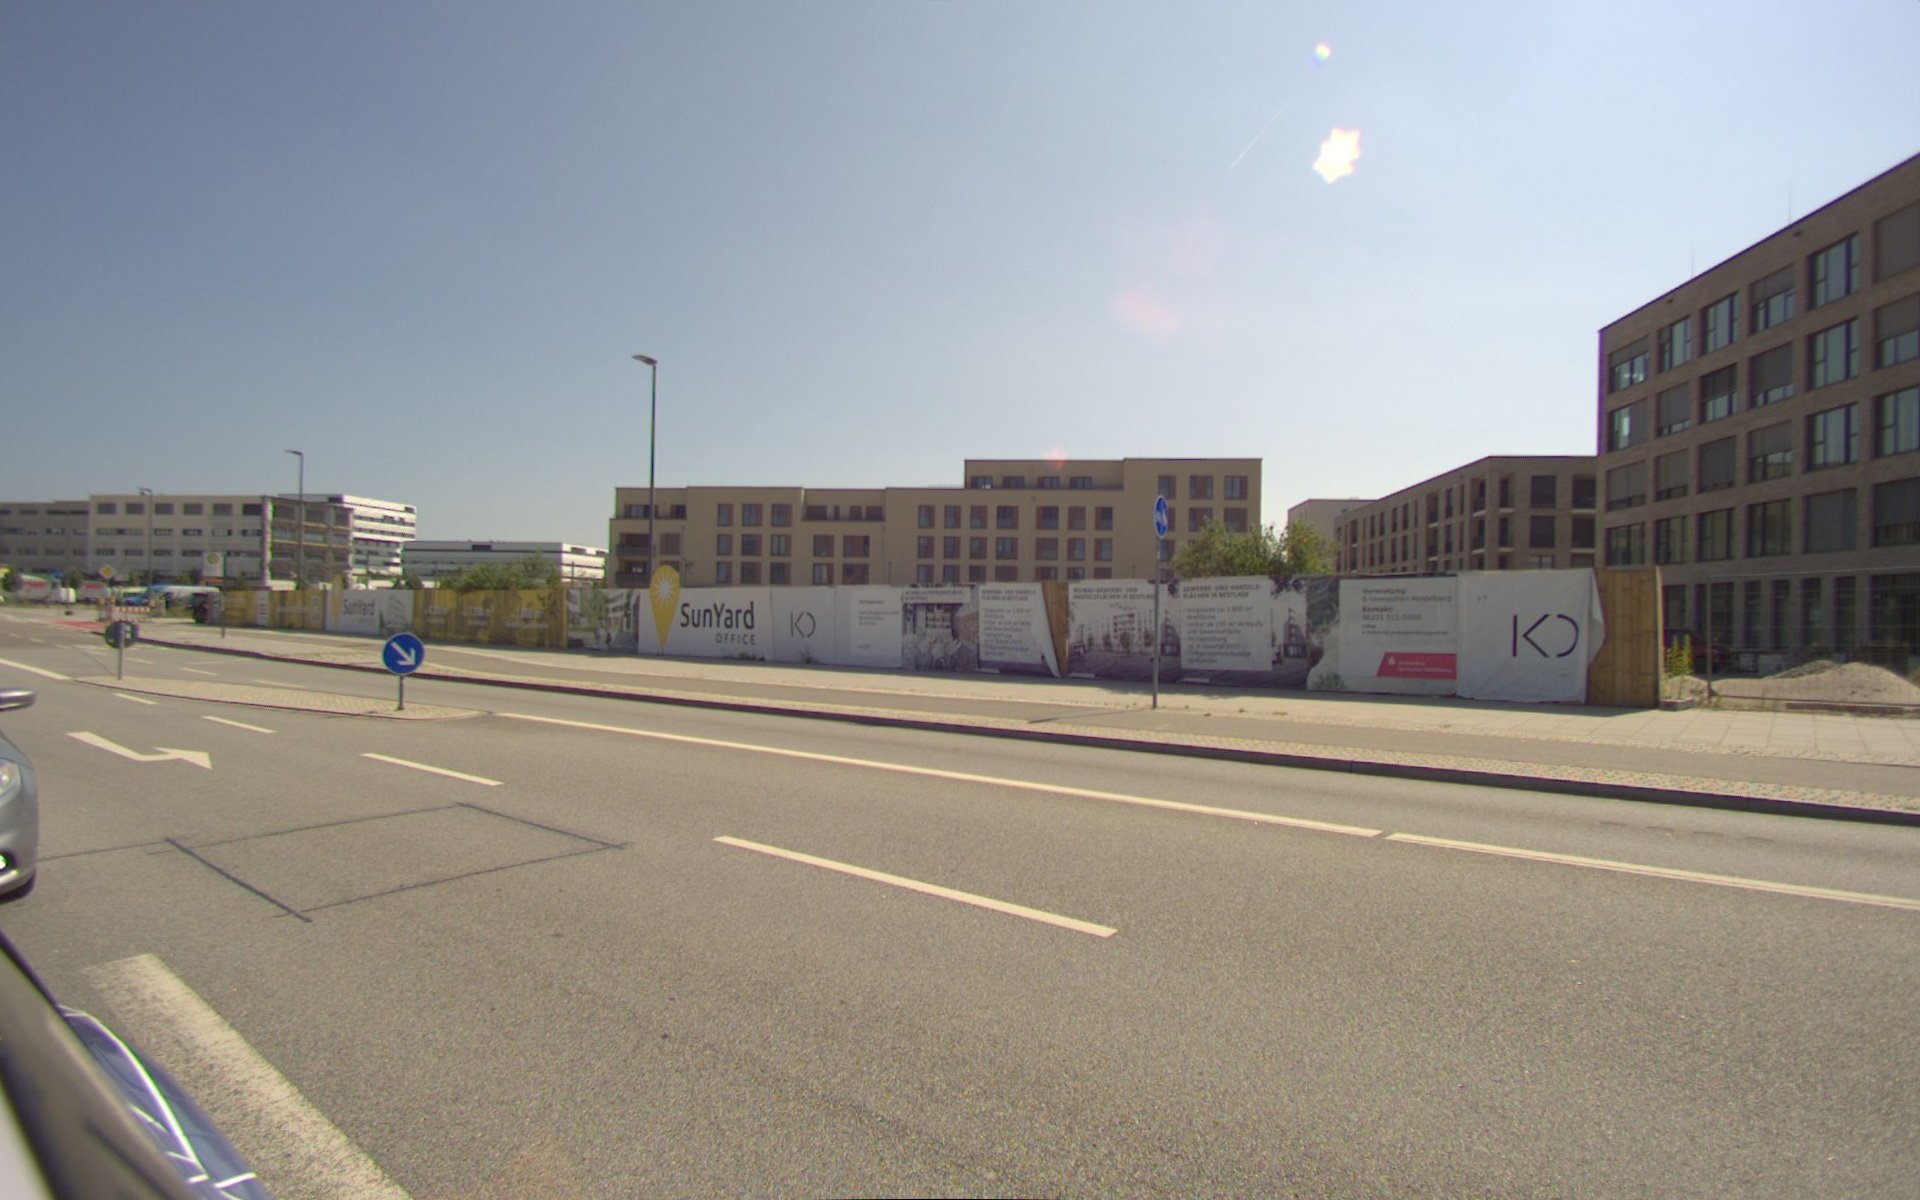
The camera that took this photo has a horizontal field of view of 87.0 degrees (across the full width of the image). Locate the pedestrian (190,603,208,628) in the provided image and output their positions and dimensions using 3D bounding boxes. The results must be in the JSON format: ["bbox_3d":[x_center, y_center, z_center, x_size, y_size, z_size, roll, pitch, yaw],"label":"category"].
[{"bbox_3d":[-48.861,0.976,65.009,0.610,1.598,0.703,-1,0,5],"label":"pedestrian"}]

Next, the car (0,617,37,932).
[{"bbox_3d":[-6.305,0.802,5.274,4.134,1.390,1.762,-1,0,41],"label":"car"}]
